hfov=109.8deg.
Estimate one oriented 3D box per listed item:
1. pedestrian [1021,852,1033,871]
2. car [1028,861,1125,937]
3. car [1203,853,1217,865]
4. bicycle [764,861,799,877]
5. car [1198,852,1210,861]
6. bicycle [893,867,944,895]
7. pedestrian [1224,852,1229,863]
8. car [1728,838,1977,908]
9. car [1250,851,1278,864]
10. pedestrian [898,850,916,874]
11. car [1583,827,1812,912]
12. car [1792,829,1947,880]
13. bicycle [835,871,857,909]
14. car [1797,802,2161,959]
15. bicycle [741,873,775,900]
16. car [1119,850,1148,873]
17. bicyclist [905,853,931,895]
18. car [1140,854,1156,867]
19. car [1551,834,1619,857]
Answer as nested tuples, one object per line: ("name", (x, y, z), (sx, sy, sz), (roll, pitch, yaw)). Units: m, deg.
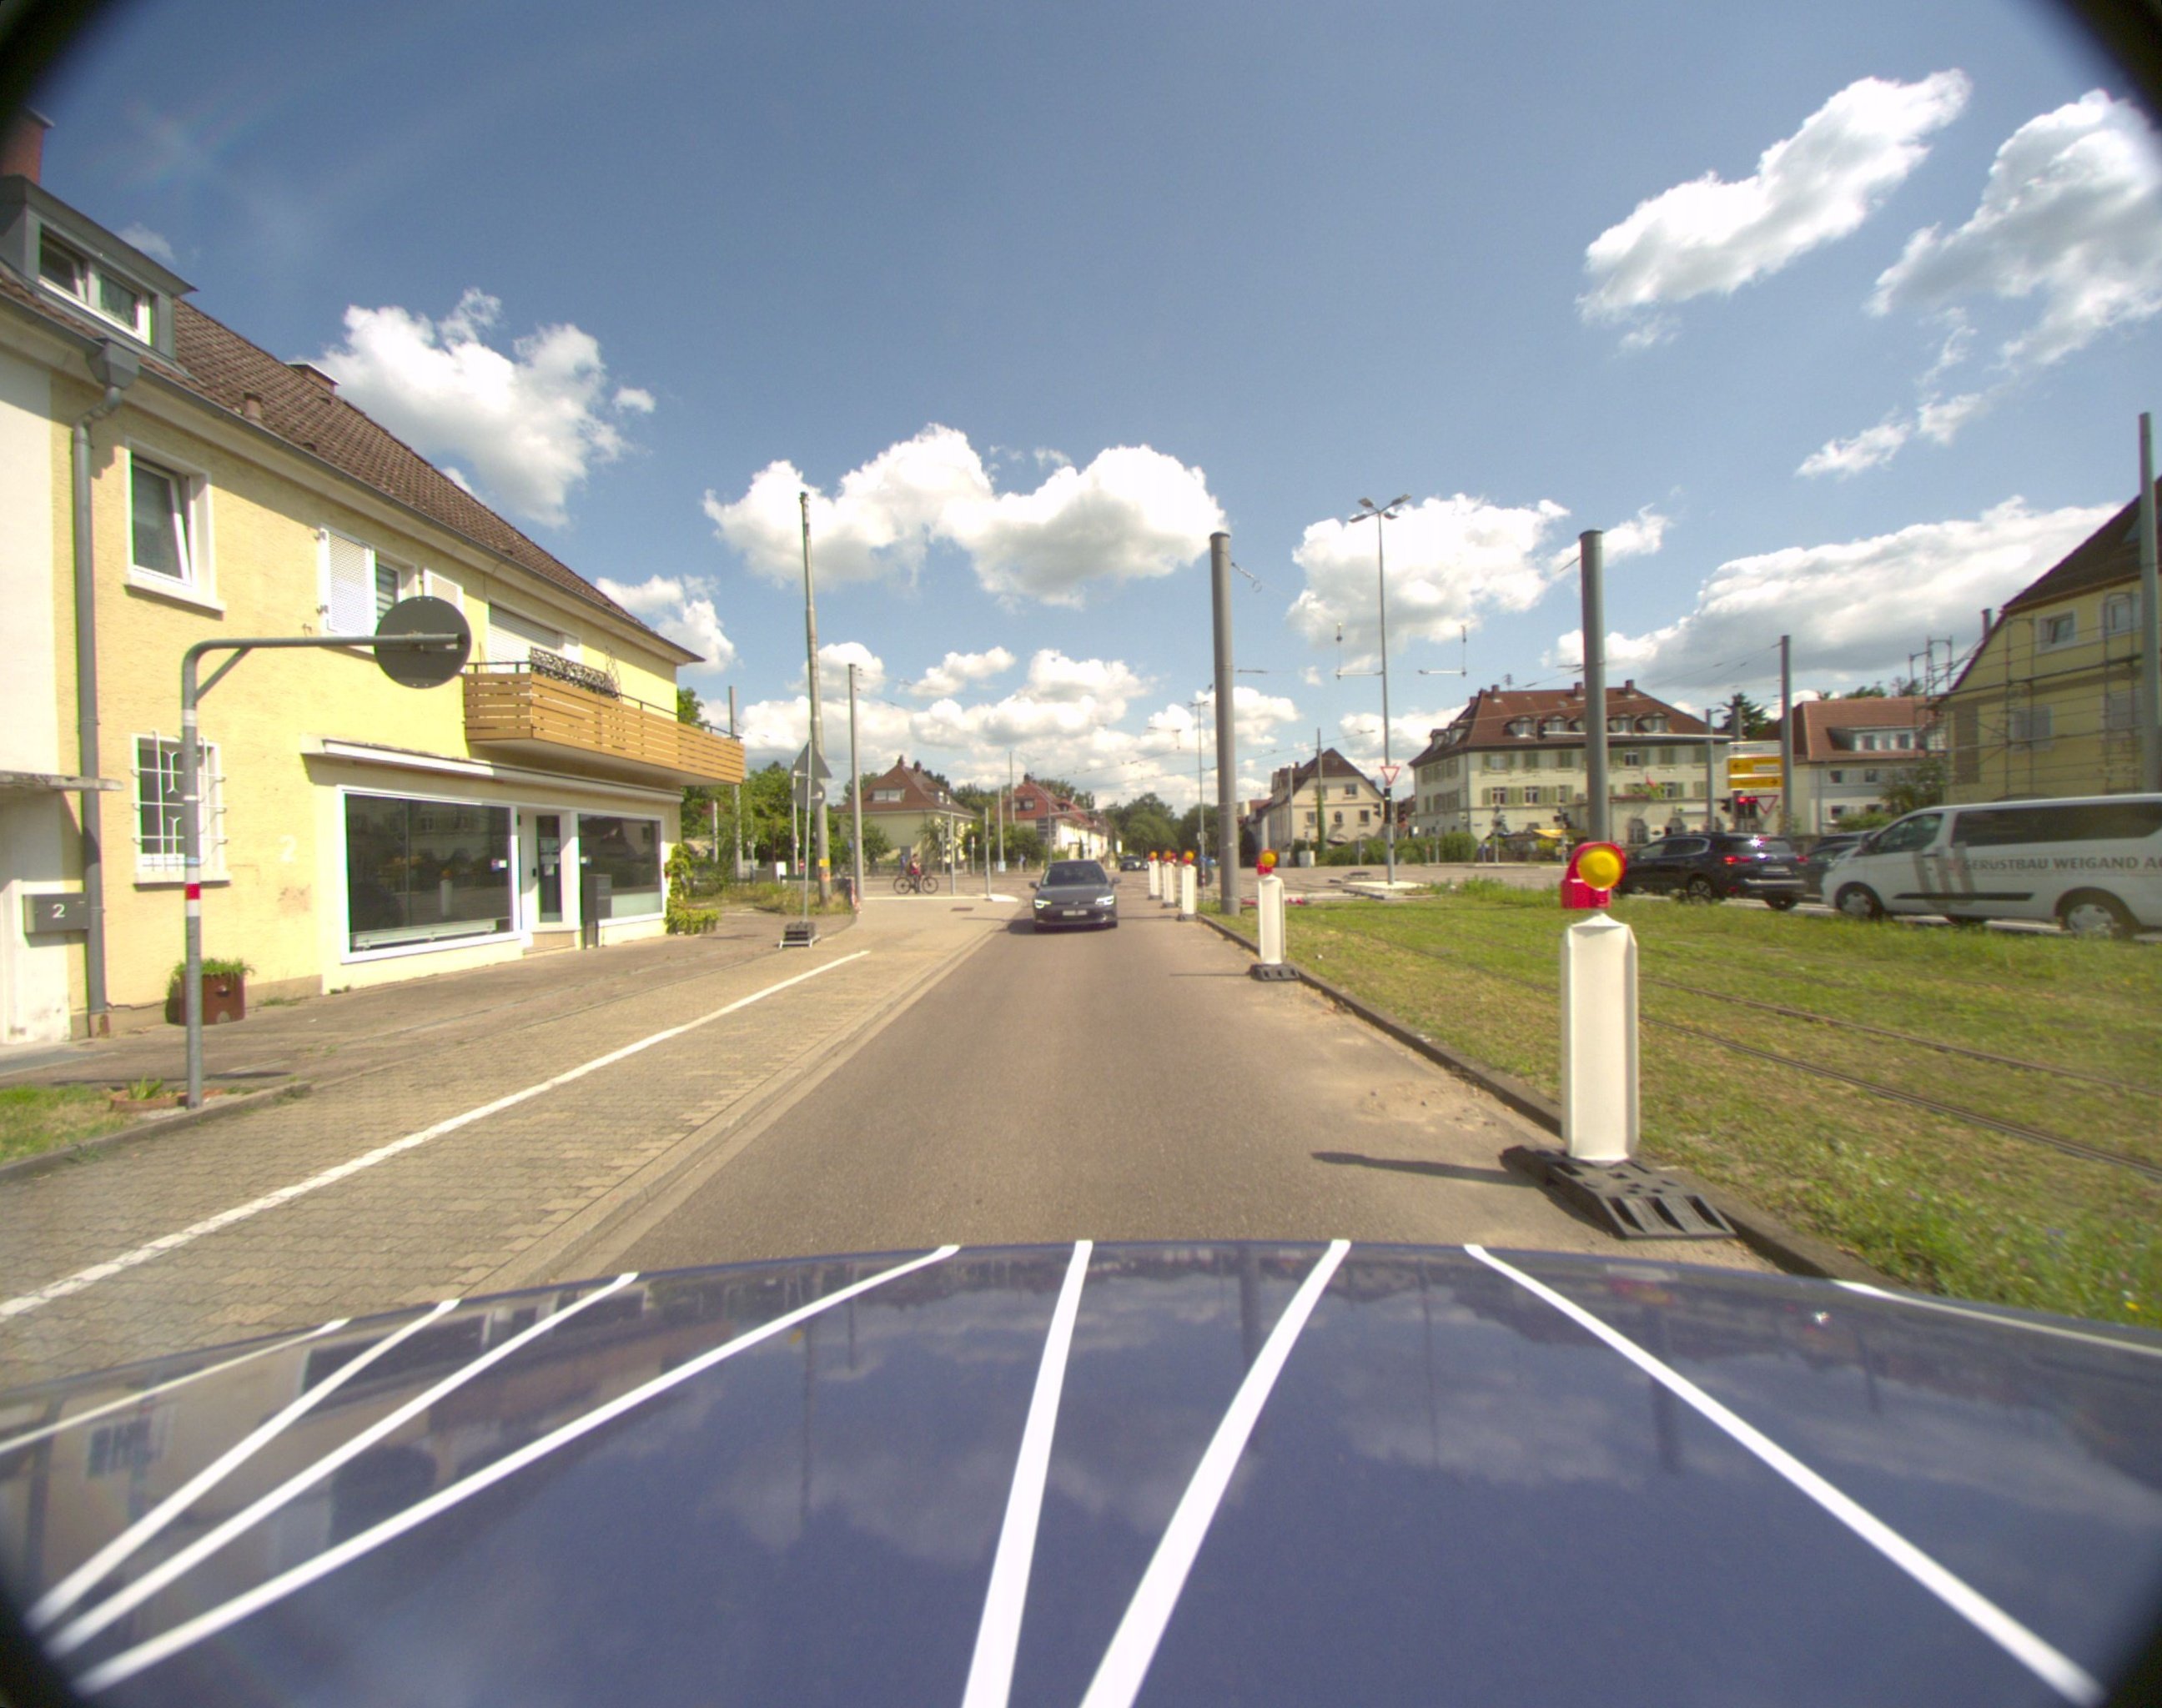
("pedestrian", (-4.929, 0.701, 69.740), (0.939, 1.757, 0.591), (-1, 0, -45))
("car", (0.045, 0.915, 17.455), (1.766, 1.465, 4.689), (-1, 0, 5))
("car", (17.215, 0.688, 101.445), (1.708, 1.453, 3.156), (-1, 0, 6))
("bicycle", (-26.654, 1.312, 67.594), (2.800, 1.326, 0.623), (-1, 0, -1))
("car", (19.268, 0.361, 119.096), (1.708, 1.288, 3.921), (-1, 0, 10))
("bicycle", (-6.939, 1.126, 32.521), (2.035, 1.095, 0.714), (-2, 1, -20))
("pedestrian", (22.150, 0.533, 115.583), (0.631, 1.526, 0.619), (-1, 0, 15))
("car", (18.753, 0.403, 18.825), (1.832, 1.478, 4.334), (-1, 1, 2))
("car", (21.727, 0.415, 90.269), (1.757, 1.378, 4.111), (-2, 0, 37))
("pedestrian", (-12.617, 0.597, 55.114), (1.032, 1.724, 1.041), (-1, 0, 3))
("car", (14.171, 0.331, 17.879), (1.791, 1.710, 4.441), (-1, 0, 0))
("car", (27.272, 0.007, 26.327), (4.145, 1.485, 1.179), (-3, 0, -1))
("bicycle", (-7.559, 1.130, 24.379), (0.595, 1.090, 2.273), (-2, 1, -19))
("car", (13.975, 0.292, 11.437), (1.819, 1.910, 4.747), (-1, 0, -1))
("bicycle", (-13.713, 1.352, 32.250), (0.704, 1.098, 1.803), (-2, 0, -44))
("car", (4.720, 0.615, 67.681), (1.774, 1.754, 4.878), (-2, 1, 13))
("bicyclist", (-6.996, 0.834, 32.510), (0.961, 1.765, 0.718), (-2, 1, -19))
("car", (7.991, 0.812, 90.267), (1.708, 1.453, 3.156), (-1, 0, 7))
("car", (38.024, -0.630, 57.348), (3.921, 1.575, 1.747), (-1, 1, 2))
